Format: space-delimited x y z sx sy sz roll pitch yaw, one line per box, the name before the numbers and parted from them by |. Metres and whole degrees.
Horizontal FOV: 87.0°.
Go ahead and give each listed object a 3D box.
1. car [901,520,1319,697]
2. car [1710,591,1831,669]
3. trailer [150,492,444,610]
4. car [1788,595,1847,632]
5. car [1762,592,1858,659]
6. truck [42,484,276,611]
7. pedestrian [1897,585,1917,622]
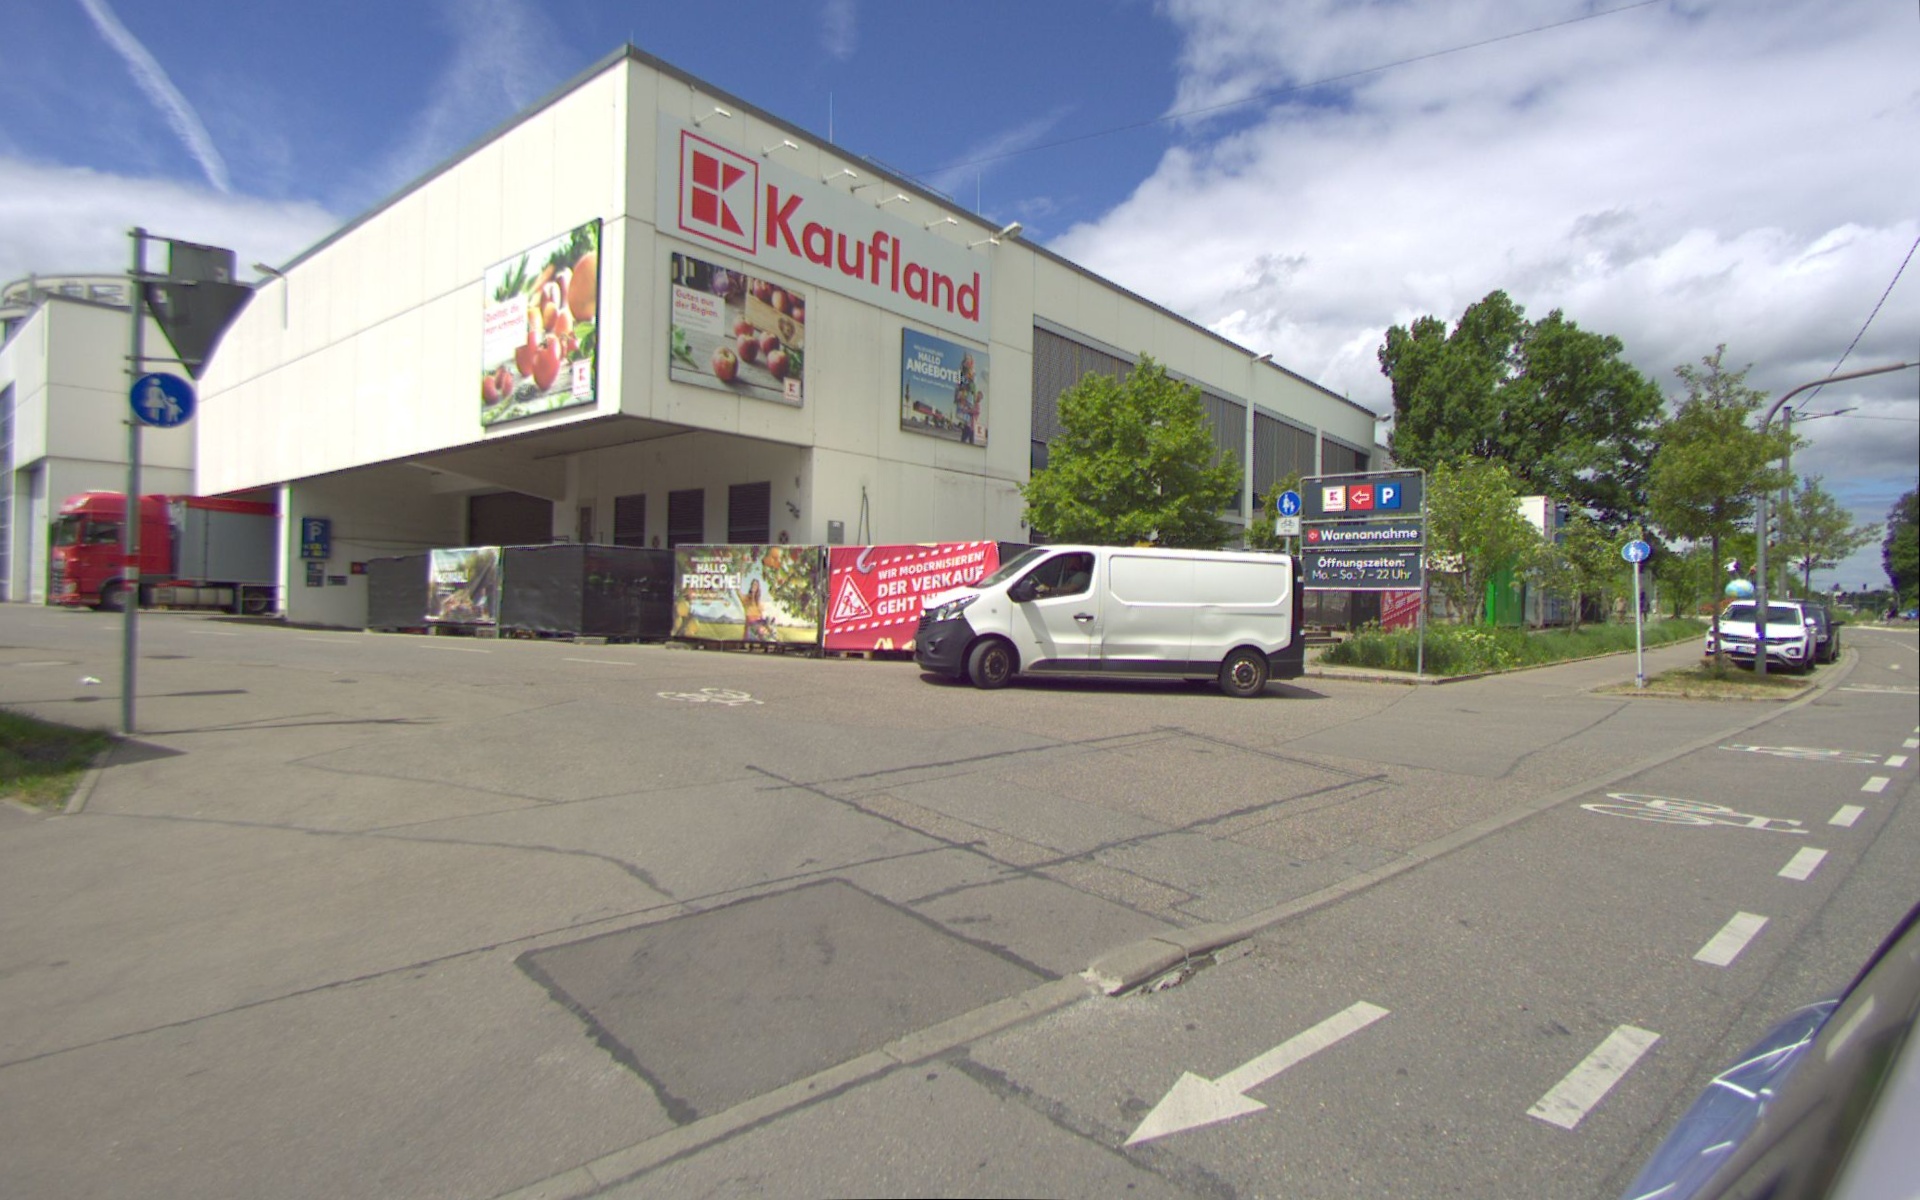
car | 1.934 0.084 13.978 5.242 2.048 2.004 3 2 -8
car | 18.528 0.608 23.073 1.791 1.549 3.859 4 3 43
trailer | -24.516 -1.646 38.058 2.588 3.911 8.944 -1 -1 37
car | 37.261 0.559 44.052 1.697 1.551 3.946 -1 0 37
car | 22.581 0.621 26.842 1.599 1.580 3.730 4 3 44
truck | -27.160 -1.635 34.535 2.588 3.911 5.826 -1 -1 37
pedestrian | 52.701 0.179 56.311 0.711 2.039 0.700 0 -1 -37
